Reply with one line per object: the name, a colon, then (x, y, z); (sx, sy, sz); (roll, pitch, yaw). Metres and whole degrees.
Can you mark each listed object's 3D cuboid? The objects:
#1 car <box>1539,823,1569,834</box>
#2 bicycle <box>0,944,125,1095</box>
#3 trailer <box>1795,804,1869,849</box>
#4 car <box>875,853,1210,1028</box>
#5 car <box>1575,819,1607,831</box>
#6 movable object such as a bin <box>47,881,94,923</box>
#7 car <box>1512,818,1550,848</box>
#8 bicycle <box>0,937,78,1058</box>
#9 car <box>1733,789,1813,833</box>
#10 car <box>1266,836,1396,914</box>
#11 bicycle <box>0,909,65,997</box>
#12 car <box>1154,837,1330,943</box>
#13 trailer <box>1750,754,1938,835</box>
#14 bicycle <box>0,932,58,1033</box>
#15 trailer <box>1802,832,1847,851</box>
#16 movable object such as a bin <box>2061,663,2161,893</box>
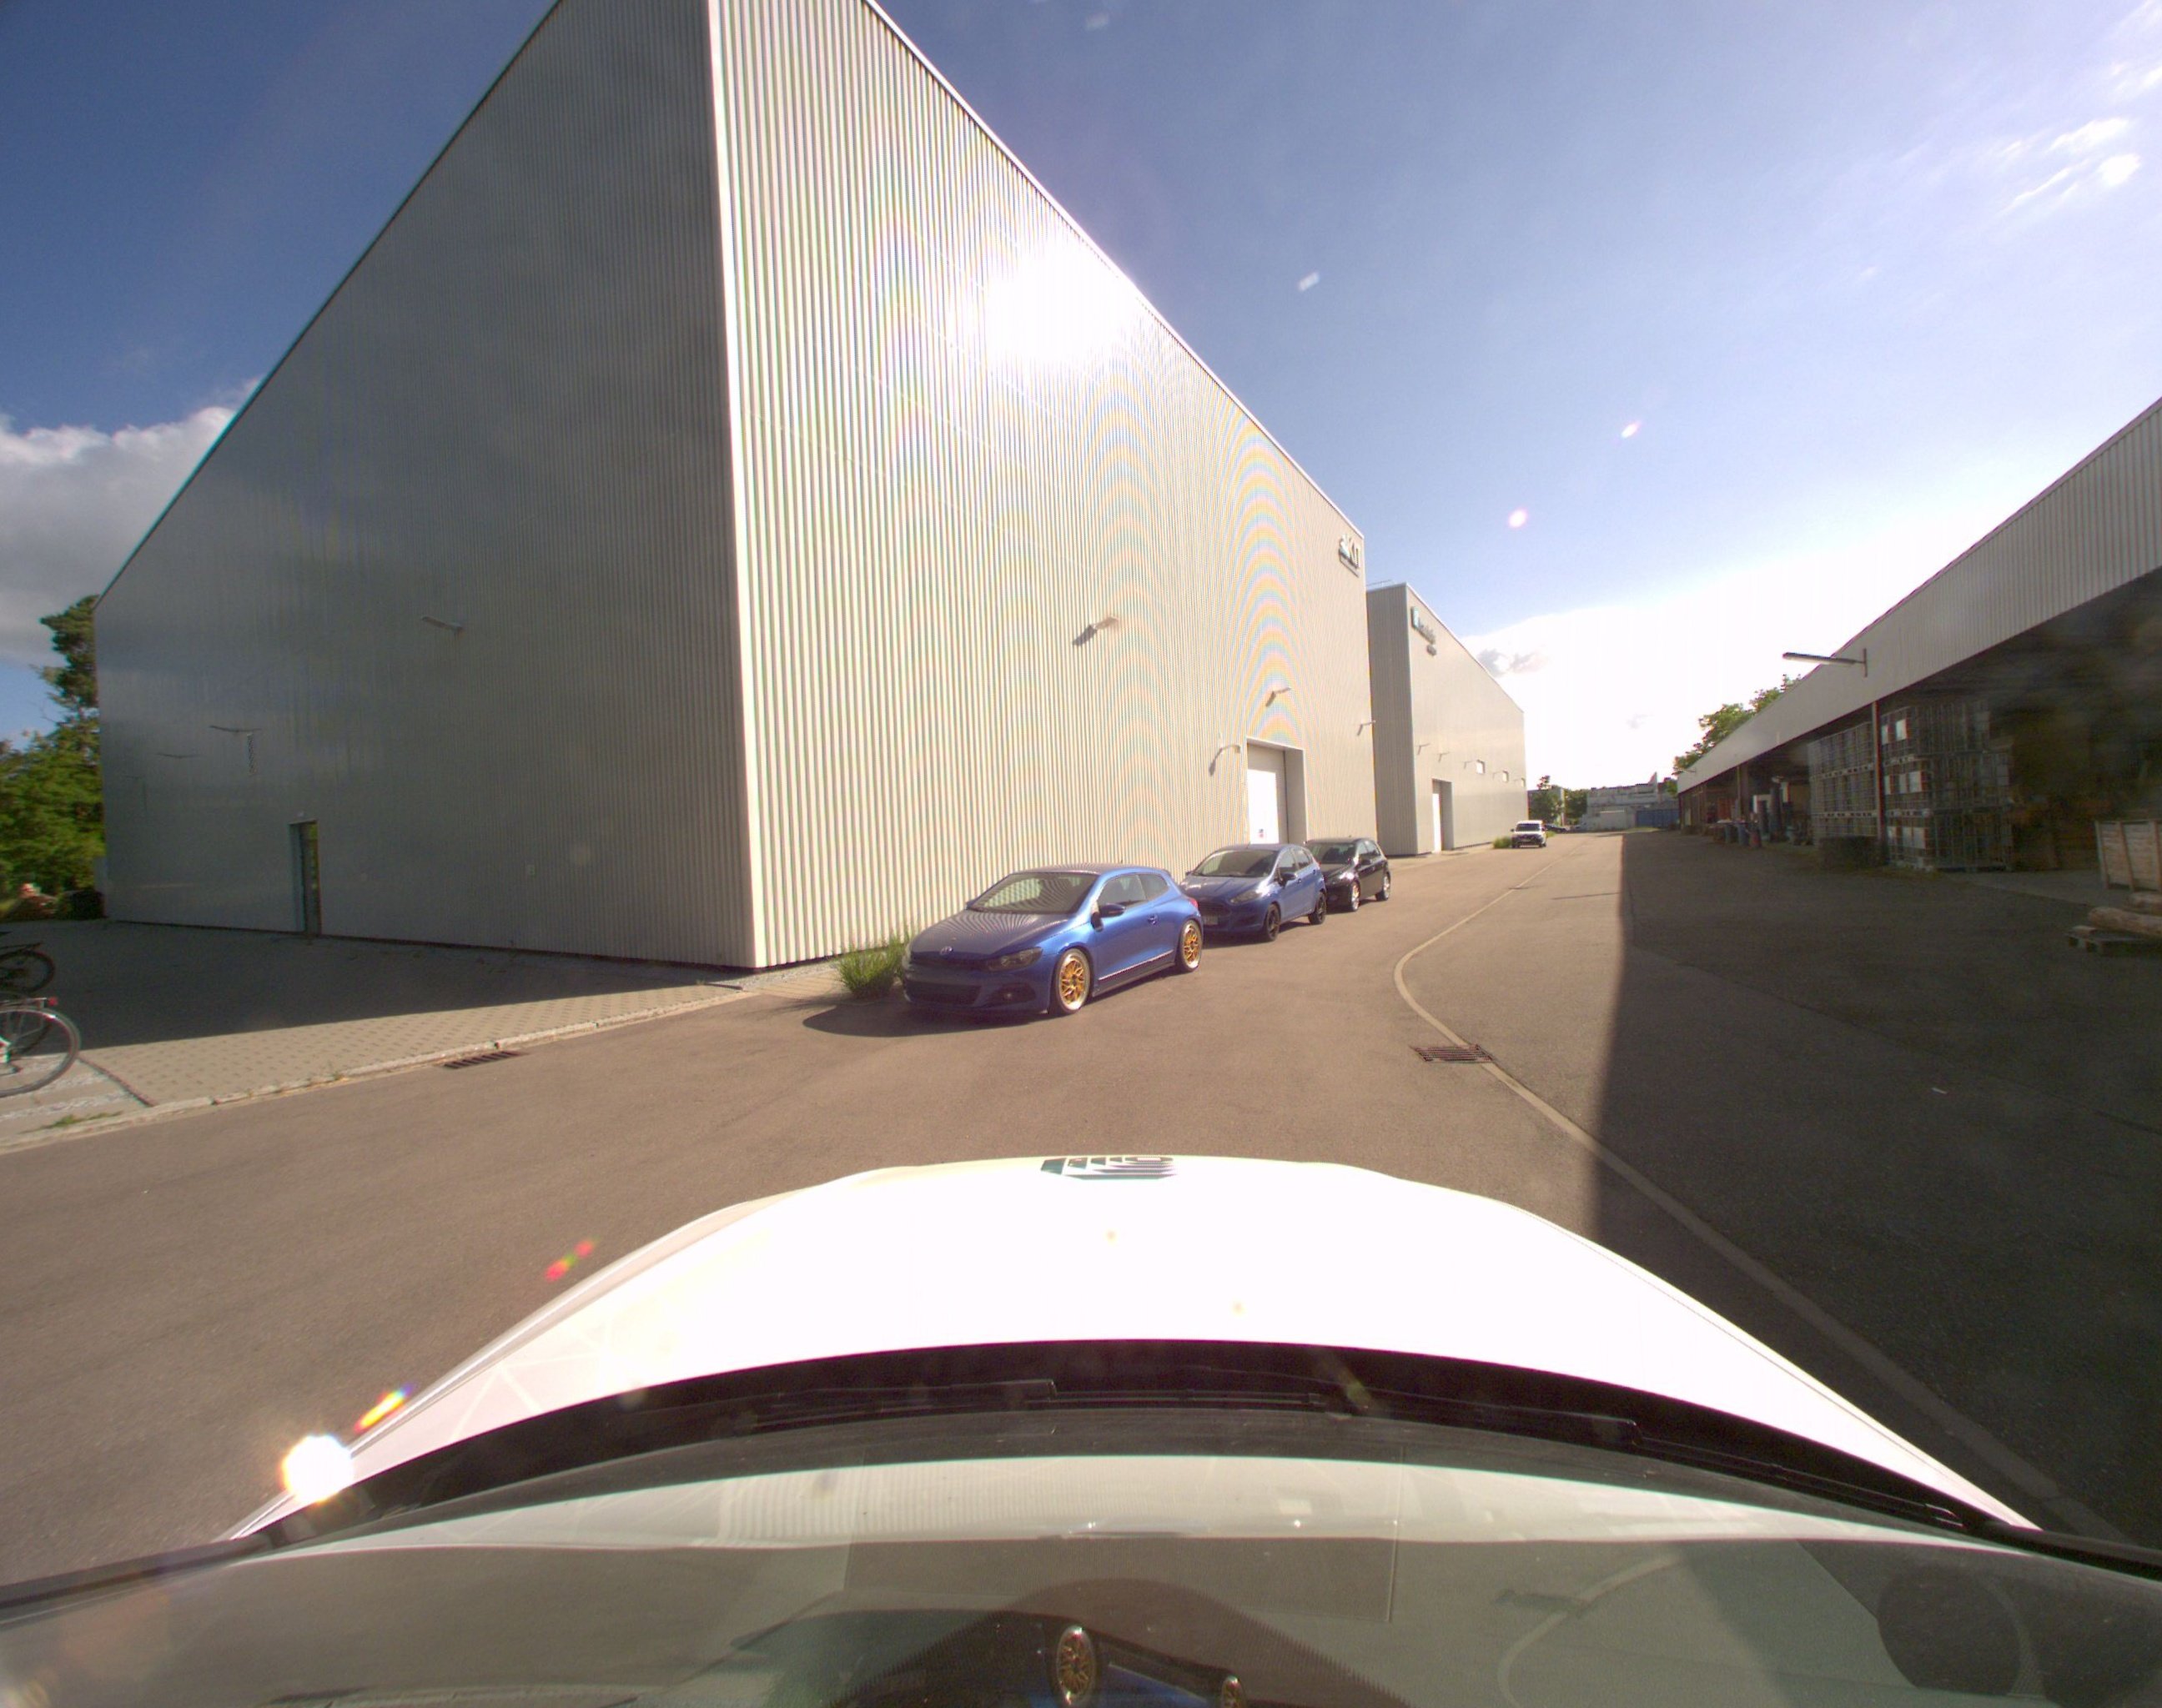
car: (72.442, -3.969, 124.704); (3.847, 1.461, 1.634); (-3, 0, 33)
bicycle: (-8.595, 1.326, 6.071); (0.453, 1.062, 1.817); (-2, 1, 29)
trailer: (26.804, -0.995, 29.133); (1.530, 1.518, 1.926); (0, 3, 29)
car: (-0.170, 0.737, 9.011); (1.652, 1.350, 3.979); (-1, 2, 33)
car: (75.658, -4.310, 120.895); (3.847, 1.461, 1.634); (-2, 0, 36)
movable object such as a bin: (-51.734, 2.440, 41.691); (1.110, 2.013, 1.432); (-2, 1, 38)
car: (29.669, -1.401, 53.608); (1.889, 1.793, 4.026); (-3, 1, 32)
bicycle: (-10.696, 1.414, 7.478); (0.518, 1.082, 1.809); (-2, 1, 36)
car: (43.175, -2.664, 50.911); (3.470, 2.441, 2.013); (-4, 0, 34)
car: (5.567, 0.356, 17.842); (1.634, 1.446, 3.903); (1, 2, 34)
bicycle: (-17.298, 1.584, 12.138); (1.126, 1.266, 2.656); (-2, 1, 38)
car: (2.840, 0.498, 13.705); (1.604, 1.447, 3.789); (-1, 1, 32)
trailer: (37.969, -2.871, 40.882); (6.326, 3.370, 2.843); (-4, 0, 33)
bicycle: (-12.774, 1.515, 8.899); (0.519, 1.094, 1.906); (-3, 0, 33)
trailer: (24.466, -0.423, 26.815); (0.961, 0.567, 0.737); (0, 3, 29)
movable object such as a bin: (17.229, -1.181, 9.465); (6.867, 2.905, 2.703); (-4, 0, 34)
